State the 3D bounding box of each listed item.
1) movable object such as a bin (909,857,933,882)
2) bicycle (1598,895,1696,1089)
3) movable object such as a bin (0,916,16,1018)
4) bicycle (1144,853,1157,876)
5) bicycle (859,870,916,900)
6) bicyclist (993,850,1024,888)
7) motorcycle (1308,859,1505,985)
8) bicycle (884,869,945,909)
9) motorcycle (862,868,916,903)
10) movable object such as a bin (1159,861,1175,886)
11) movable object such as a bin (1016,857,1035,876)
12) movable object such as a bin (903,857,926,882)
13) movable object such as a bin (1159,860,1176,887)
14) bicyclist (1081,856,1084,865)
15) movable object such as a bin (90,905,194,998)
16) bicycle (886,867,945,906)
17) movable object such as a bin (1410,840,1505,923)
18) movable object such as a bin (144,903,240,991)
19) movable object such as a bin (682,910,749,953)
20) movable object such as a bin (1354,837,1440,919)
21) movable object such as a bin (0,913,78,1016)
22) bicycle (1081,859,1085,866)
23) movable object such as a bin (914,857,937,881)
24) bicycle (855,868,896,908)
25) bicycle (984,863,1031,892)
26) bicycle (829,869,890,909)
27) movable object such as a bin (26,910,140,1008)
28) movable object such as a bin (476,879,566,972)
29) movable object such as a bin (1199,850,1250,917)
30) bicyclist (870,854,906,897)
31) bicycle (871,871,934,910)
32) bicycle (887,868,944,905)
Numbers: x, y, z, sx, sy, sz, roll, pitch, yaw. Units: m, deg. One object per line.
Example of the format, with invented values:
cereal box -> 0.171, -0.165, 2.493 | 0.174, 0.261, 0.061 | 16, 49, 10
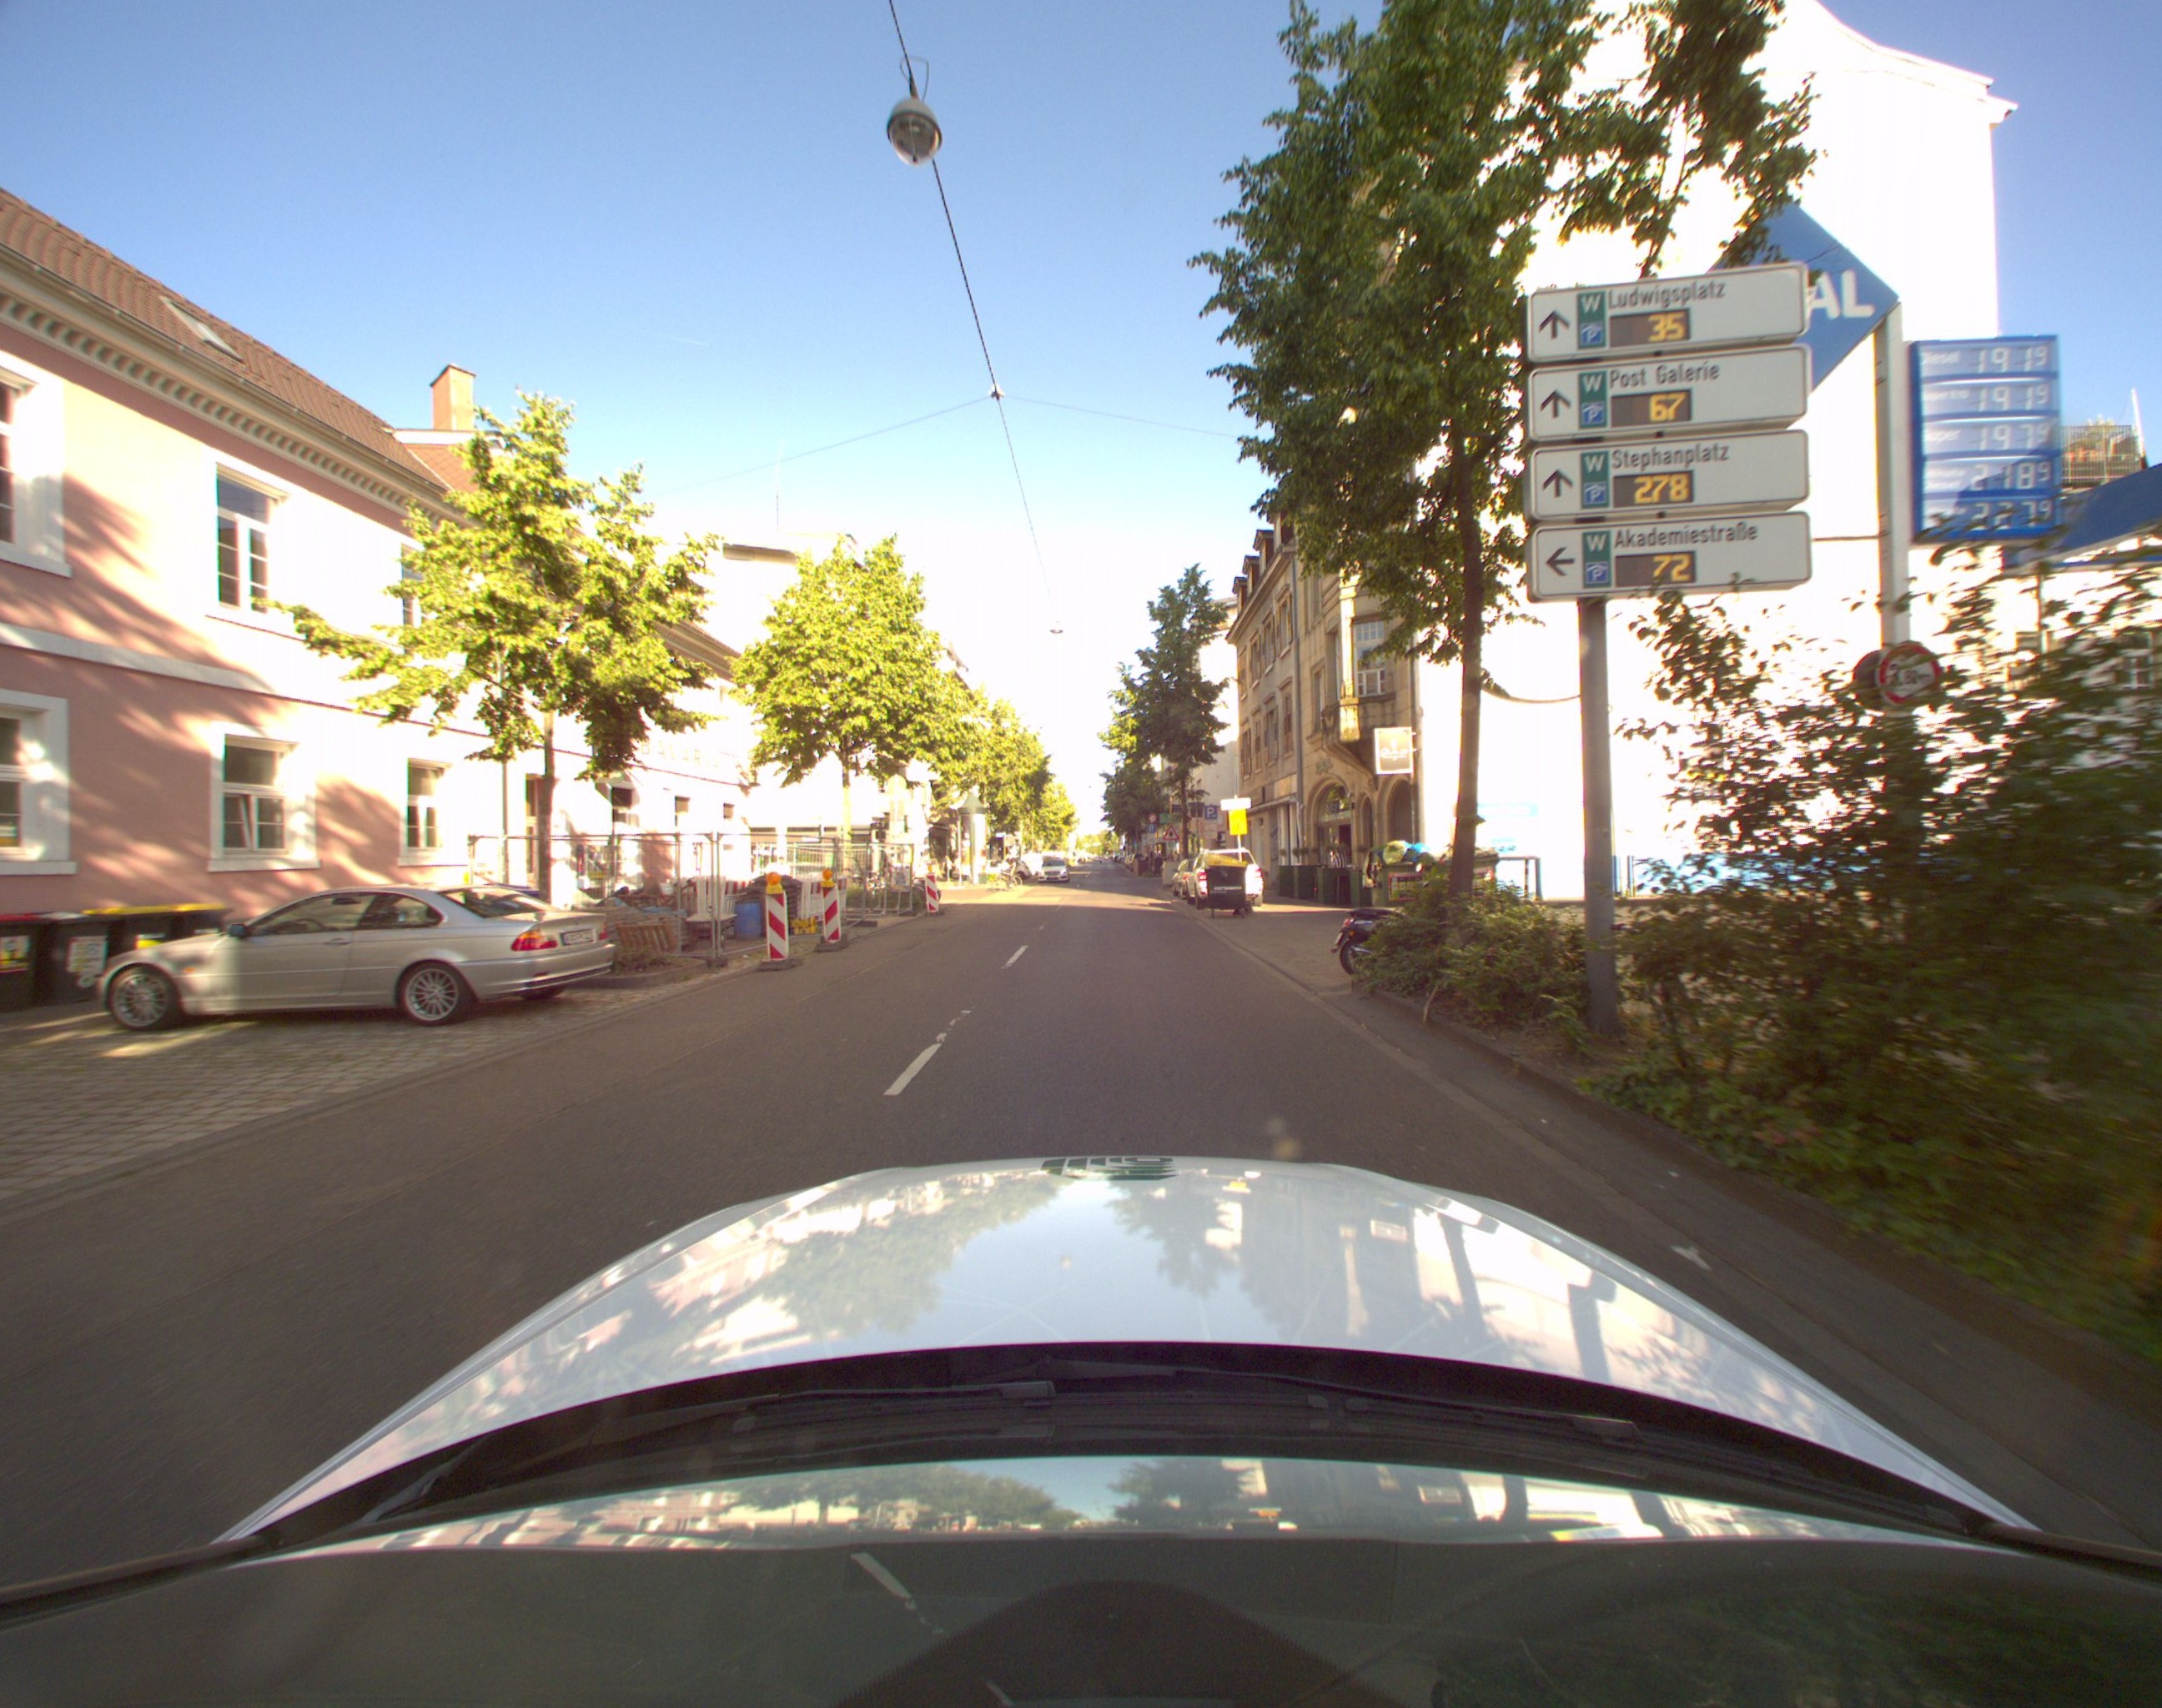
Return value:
movable object such as a bin -> -10.123, 0.978, 51.565 | 1.168, 1.485, 1.314 | -2, 0, -1
bicycle -> 3.759, 0.816, 5.390 | 0.431, 0.988, 1.682 | -2, 0, 36
movable object such as a bin -> -11.736, 1.211, 8.406 | 0.693, 1.060, 0.574 | -2, 0, 2
bicycle -> 4.788, 0.718, 56.182 | 0.558, 1.441, 1.629 | -7, 0, 1
bicycle -> -7.347, 1.164, 30.967 | 1.966, 1.059, 0.760 | -2, 0, -42
bicyclist -> -3.329, 0.684, 37.419 | 1.163, 1.693, 0.713 | -1, 0, -38
motorcycle -> 3.837, 0.763, 9.676 | 1.978, 1.330, 0.908 | -2, 0, -11
bicycle -> -5.358, 1.110, 26.285 | 1.852, 1.252, 0.599 | 0, 0, -6
motorcycle -> -6.901, 1.122, 29.366 | 1.852, 1.229, 0.754 | 0, 0, -10
movable object such as a bin -> 4.081, 0.924, 38.718 | 0.657, 1.180, 0.739 | -2, 0, -1
movable object such as a bin -> -4.420, 0.973, 64.904 | 1.330, 1.478, 1.480 | -2, 0, 1
movable object such as a bin -> -10.239, 0.959, 50.110 | 1.136, 1.485, 1.235 | -2, 0, -1
movable object such as a bin -> 4.039, 0.892, 37.977 | 0.703, 1.222, 0.680 | -2, 0, -1
bicyclist -> 0.293, 1.098, 138.528 | 0.558, 1.548, 0.728 | -1, -1, 1
movable object such as a bin -> -11.665, 1.200, 10.127 | 0.630, 1.060, 0.545 | -2, 0, 2
bicycle -> -5.539, 1.090, 27.303 | 1.852, 1.252, 0.599 | 0, 0, -6
movable object such as a bin -> 7.374, 0.525, 16.014 | 1.266, 1.530, 1.176 | -2, 0, 0
movable object such as a bin -> -11.658, 1.209, 10.690 | 0.630, 1.060, 0.545 | -2, 0, 2
movable object such as a bin -> -6.359, 1.338, 14.213 | 0.625, 0.616, 1.078 | -2, 0, 1
movable object such as a bin -> 6.711, 0.497, 17.395 | 1.201, 1.627, 1.498 | -2, 0, 0
movable object such as a bin -> -11.729, 1.211, 8.984 | 0.630, 1.060, 0.545 | -2, 0, 2
bicycle -> 0.308, 1.454, 138.508 | 0.558, 1.180, 1.629 | -1, -1, 2
movable object such as a bin -> -10.138, 0.975, 53.196 | 1.168, 1.485, 1.314 | -2, 0, -1
bicycle -> -6.891, 1.110, 27.237 | 0.603, 1.252, 1.772 | 0, 0, -41
bicycle -> -3.373, 1.060, 37.376 | 2.045, 1.220, 0.713 | -2, 0, -38
bicycle -> -7.102, 1.101, 26.140 | 1.775, 1.252, 0.602 | 0, 0, 12
movable object such as a bin -> -11.685, 1.217, 9.550 | 0.630, 1.060, 0.545 | -2, 0, 2
movable object such as a bin -> -7.748, 0.967, 11.307 | 0.730, 1.186, 0.744 | -2, 0, -8
movable object such as a bin -> 3.543, 0.699, 20.066 | 1.135, 1.562, 1.463 | -2, 0, 10
bicyclist -> -7.338, 0.801, 30.966 | 1.046, 1.560, 0.760 | -1, 0, -42
bicycle -> -5.607, 1.146, 25.616 | 1.852, 1.170, 0.599 | 0, 0, -6
bicycle -> -5.670, 1.104, 27.946 | 1.852, 1.252, 0.599 | 0, 0, -6
